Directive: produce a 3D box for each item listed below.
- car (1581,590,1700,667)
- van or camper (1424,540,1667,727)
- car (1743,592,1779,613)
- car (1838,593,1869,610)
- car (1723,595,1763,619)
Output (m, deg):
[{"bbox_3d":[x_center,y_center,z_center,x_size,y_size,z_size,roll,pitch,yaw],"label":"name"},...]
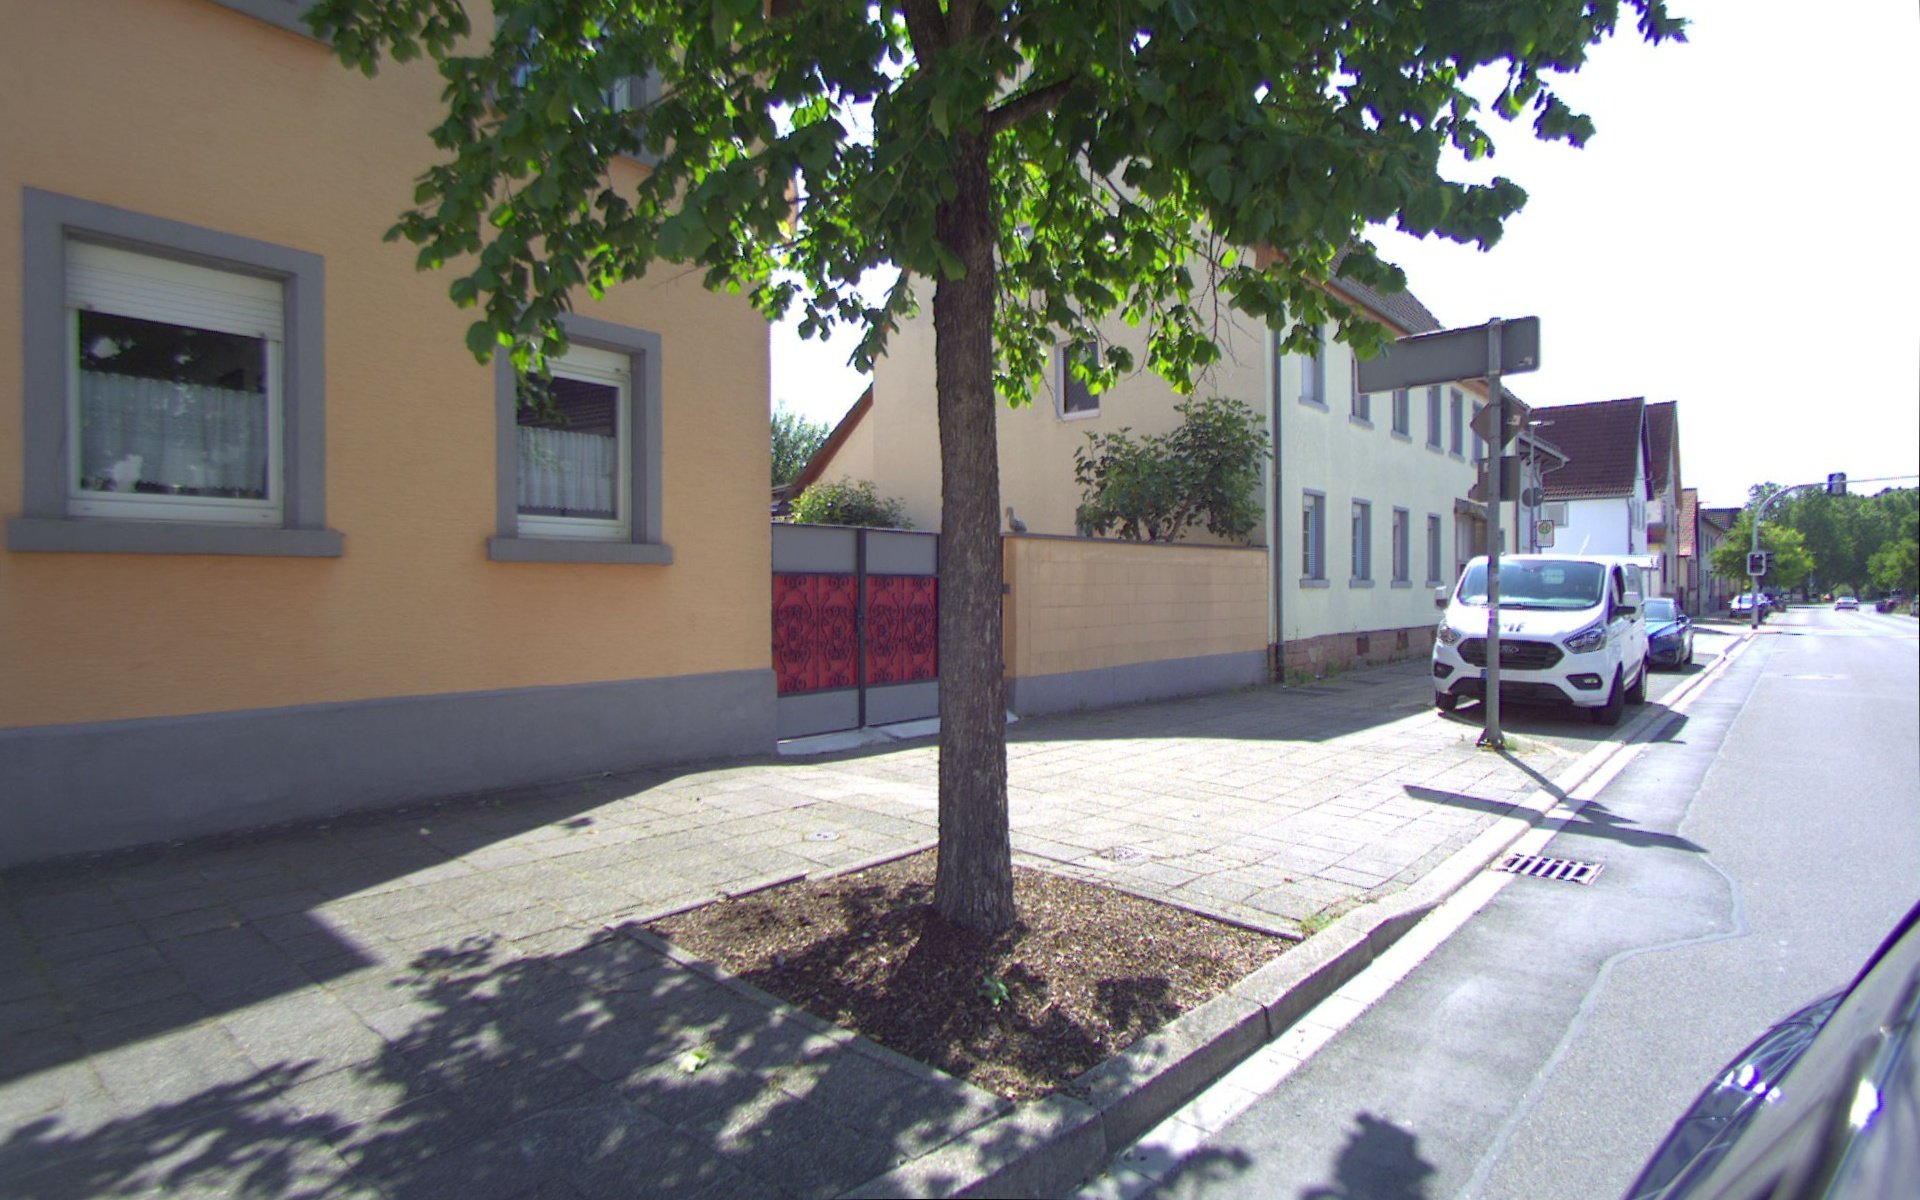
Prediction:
[{"bbox_3d":[14.349,0.511,21.257,1.726,1.445,3.930,1,1,39],"label":"car"},{"bbox_3d":[7.903,0.314,13.371,1.990,1.978,5.270,1,1,39],"label":"van or camper"},{"bbox_3d":[59.327,0.156,74.931,1.990,1.505,3.943,-1,0,39],"label":"car"},{"bbox_3d":[86.222,0.151,97.653,1.994,1.549,3.936,-1,0,45],"label":"car"},{"bbox_3d":[51.404,0.429,66.409,1.990,1.505,3.943,-1,0,39],"label":"car"}]
